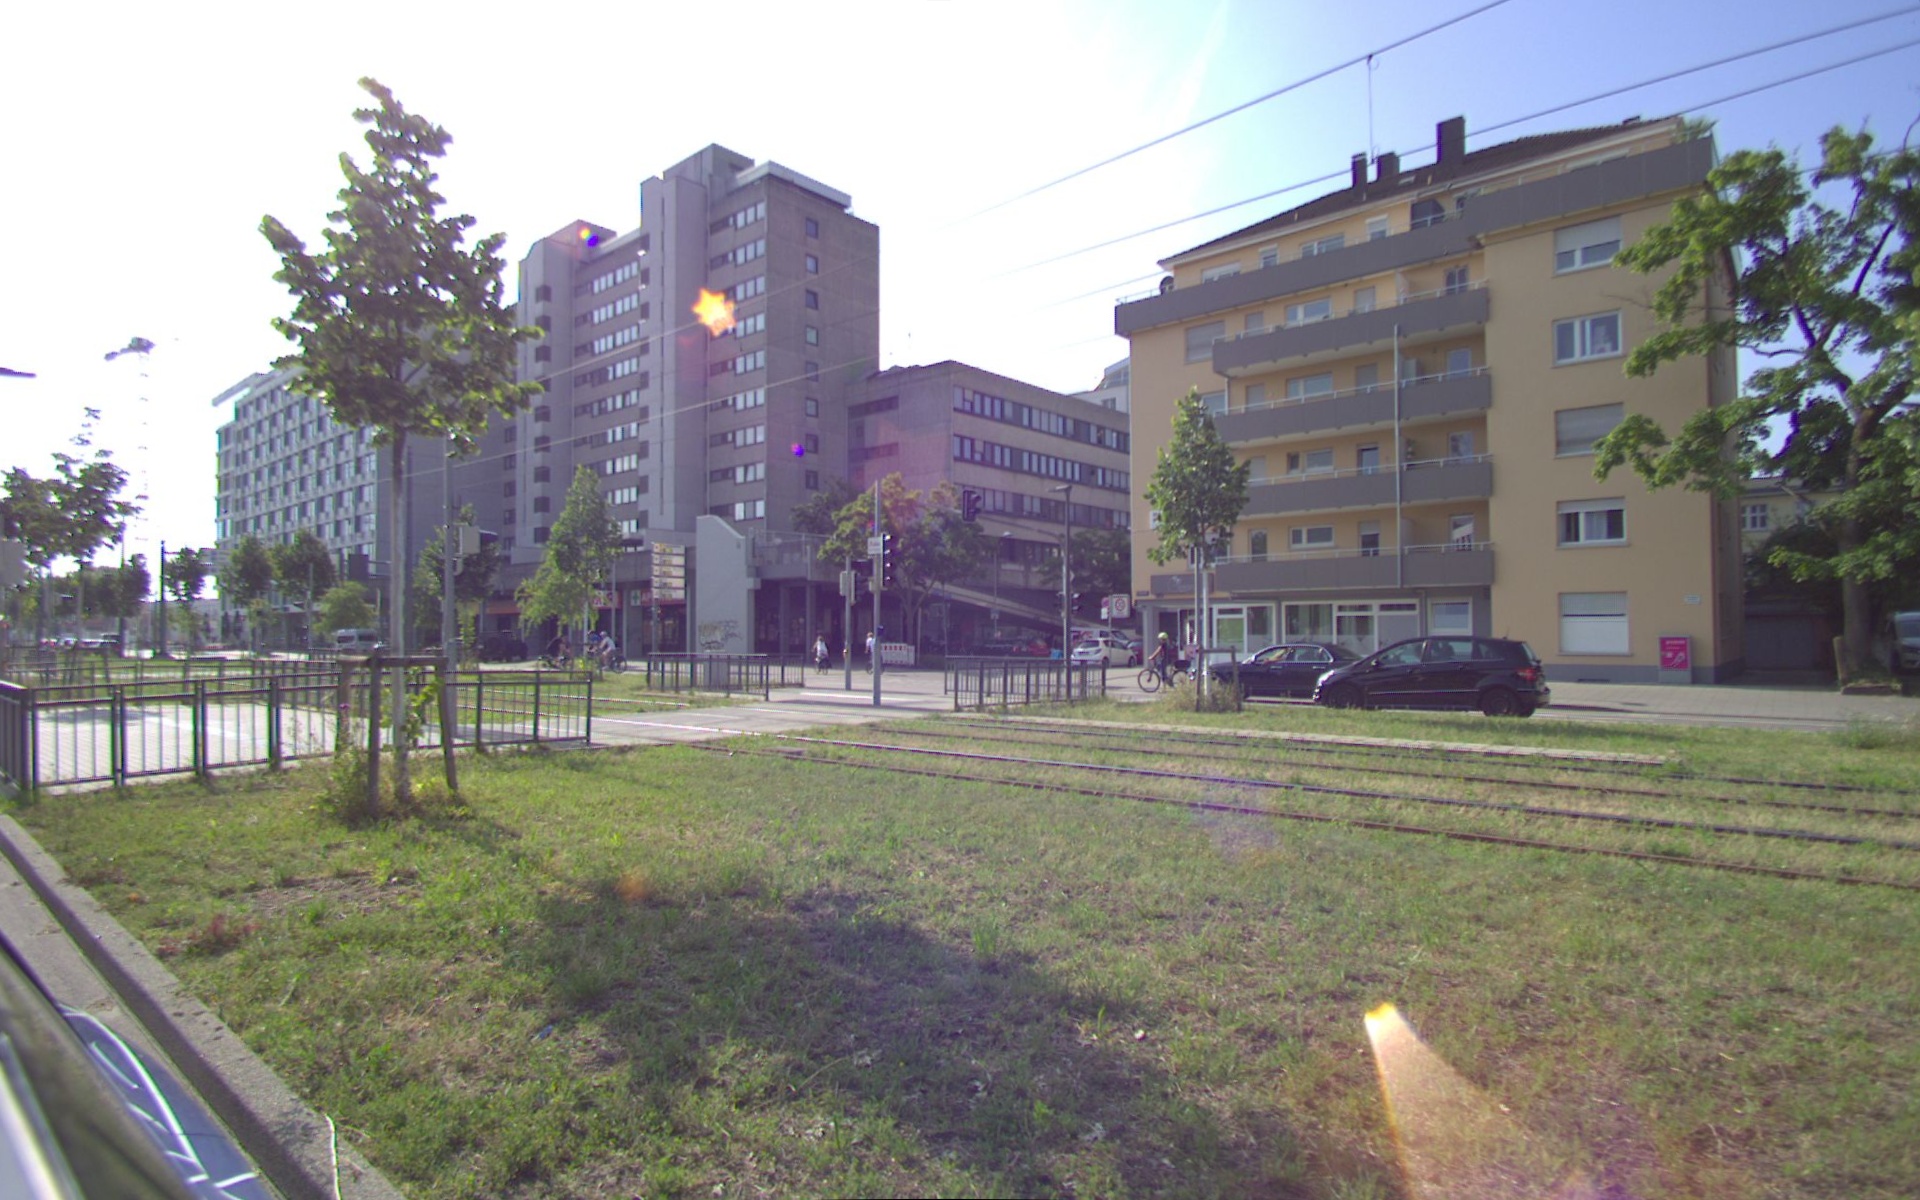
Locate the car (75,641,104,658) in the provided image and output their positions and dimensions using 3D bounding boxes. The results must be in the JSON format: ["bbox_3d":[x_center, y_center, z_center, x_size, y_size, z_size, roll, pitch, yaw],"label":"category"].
[{"bbox_3d":[-81.357,4.589,94.600,3.642,1.498,1.721,-2,-3,44],"label":"car"}]

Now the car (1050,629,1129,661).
[{"bbox_3d":[8.373,2.861,65.529,4.831,1.983,1.972,-1,-2,41],"label":"car"}]

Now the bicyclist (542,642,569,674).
[{"bbox_3d":[-18.085,2.589,45.225,0.958,1.406,0.547,5,-6,-38],"label":"bicyclist"}]

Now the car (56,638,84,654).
[{"bbox_3d":[-90.184,4.664,102.527,4.001,1.586,1.787,-2,-3,44],"label":"car"}]

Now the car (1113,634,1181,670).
[{"bbox_3d":[9.296,2.538,50.189,1.772,1.701,3.751,-2,-2,38],"label":"car"}]

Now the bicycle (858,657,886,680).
[{"bbox_3d":[-3.676,2.851,42.184,0.708,0.804,1.609,-2,0,-21],"label":"bicycle"}]

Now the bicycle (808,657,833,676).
[{"bbox_3d":[-6.251,2.981,45.332,0.618,0.799,2.009,0,-2,-23],"label":"bicycle"}]

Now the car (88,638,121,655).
[{"bbox_3d":[-75.635,4.118,89.448,4.001,1.492,1.787,-2,-3,44],"label":"car"}]

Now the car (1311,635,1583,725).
[{"bbox_3d":[9.330,1.456,19.579,4.393,1.524,1.974,-2,-2,39],"label":"car"}]

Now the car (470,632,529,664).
[{"bbox_3d":[-29.761,3.067,65.471,1.854,1.983,4.109,0,-2,2],"label":"car"}]

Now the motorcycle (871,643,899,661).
[{"bbox_3d":[-4.479,3.100,60.220,1.945,1.025,0.487,-2,-3,42],"label":"motorcycle"}]

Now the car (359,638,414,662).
[{"bbox_3d":[-42.924,3.714,75.863,2.070,1.594,4.005,-2,-1,-5],"label":"car"}]

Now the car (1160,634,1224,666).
[{"bbox_3d":[12.430,2.645,54.074,1.814,1.616,3.901,-2,-2,39],"label":"car"}]

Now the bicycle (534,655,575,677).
[{"bbox_3d":[-18.095,2.939,45.186,1.587,0.942,0.558,5,-6,-38],"label":"bicycle"}]

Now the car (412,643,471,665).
[{"bbox_3d":[-35.566,3.682,69.488,1.854,1.253,4.109,-2,0,2],"label":"car"}]

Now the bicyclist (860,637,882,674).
[{"bbox_3d":[-3.723,2.310,42.262,0.676,1.451,0.808,-1,0,-20],"label":"bicyclist"}]

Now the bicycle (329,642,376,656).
[{"bbox_3d":[-61.216,4.925,102.084,3.936,1.377,1.128,1,-3,-40],"label":"bicycle"}]

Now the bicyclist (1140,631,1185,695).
[{"bbox_3d":[5.924,1.815,29.585,1.082,1.819,0.663,-2,-2,37],"label":"bicyclist"}]

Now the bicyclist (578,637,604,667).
[{"bbox_3d":[-18.186,2.569,49.838,0.684,1.451,1.011,-2,-3,38],"label":"bicyclist"}]

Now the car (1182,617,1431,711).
[{"bbox_3d":[8.209,1.459,24.296,5.297,2.029,1.974,-2,-2,39],"label":"car"}]

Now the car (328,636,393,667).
[{"bbox_3d":[-47.675,4.041,80.624,1.859,2.326,5.406,0,-2,1],"label":"car"}]

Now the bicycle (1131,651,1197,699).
[{"bbox_3d":[5.954,2.168,29.550,1.754,1.356,0.688,-2,-2,37],"label":"bicycle"}]

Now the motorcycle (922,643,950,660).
[{"bbox_3d":[-1.512,3.189,63.141,1.945,1.025,0.487,-2,-3,42],"label":"motorcycle"}]

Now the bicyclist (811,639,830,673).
[{"bbox_3d":[-6.245,2.486,45.328,0.610,1.511,0.990,0,-2,-23],"label":"bicyclist"}]

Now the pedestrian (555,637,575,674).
[{"bbox_3d":[-18.499,2.603,47.418,0.646,1.703,0.651,-2,-3,44],"label":"pedestrian"}]

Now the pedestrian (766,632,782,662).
[{"bbox_3d":[-11.414,2.869,62.119,0.622,1.790,0.692,-2,-3,28],"label":"pedestrian"}]

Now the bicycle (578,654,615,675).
[{"bbox_3d":[-17.963,3.192,50.033,0.684,0.998,1.646,-2,-3,38],"label":"bicycle"}]

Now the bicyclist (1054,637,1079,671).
[{"bbox_3d":[5.202,2.616,49.290,0.889,1.641,0.883,-2,-2,33],"label":"bicyclist"}]

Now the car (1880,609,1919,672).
[{"bbox_3d":[28.480,1.170,29.490,2.163,1.762,4.582,-2,-3,39],"label":"car"}]

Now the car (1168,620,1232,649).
[{"bbox_3d":[17.009,2.448,71.815,3.998,2.029,1.972,-2,-2,42],"label":"car"}]

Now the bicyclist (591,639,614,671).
[{"bbox_3d":[-15.789,2.437,44.709,0.897,1.396,0.706,0,-4,-25],"label":"bicyclist"}]

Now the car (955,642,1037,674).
[{"bbox_3d":[2.037,3.297,58.009,4.375,1.640,1.891,-1,0,38],"label":"car"}]

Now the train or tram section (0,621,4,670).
[{"bbox_3d":[-70.026,3.232,71.950,6.668,3.456,2.467,-2,-3,43],"label":"train or tram section"}]

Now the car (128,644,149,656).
[{"bbox_3d":[-118.888,7.232,146.440,4.000,1.681,1.823,-1,0,43],"label":"car"}]

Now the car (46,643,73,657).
[{"bbox_3d":[-94.479,5.223,106.125,4.001,1.486,1.787,-2,-3,44],"label":"car"}]

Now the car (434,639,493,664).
[{"bbox_3d":[-32.874,3.396,67.141,1.854,1.619,4.109,0,-2,2],"label":"car"}]

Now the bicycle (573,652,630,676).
[{"bbox_3d":[-15.826,2.836,44.683,2.306,1.007,0.710,2,-3,-25],"label":"bicycle"}]

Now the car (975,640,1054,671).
[{"bbox_3d":[3.237,3.261,60.121,4.375,1.640,1.891,-1,0,38],"label":"car"}]

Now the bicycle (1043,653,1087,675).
[{"bbox_3d":[5.114,3.071,49.129,0.898,0.973,2.963,-2,-2,33],"label":"bicycle"}]

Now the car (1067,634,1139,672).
[{"bbox_3d":[6.625,2.434,46.720,1.706,1.596,3.588,-5,-4,37],"label":"car"}]
